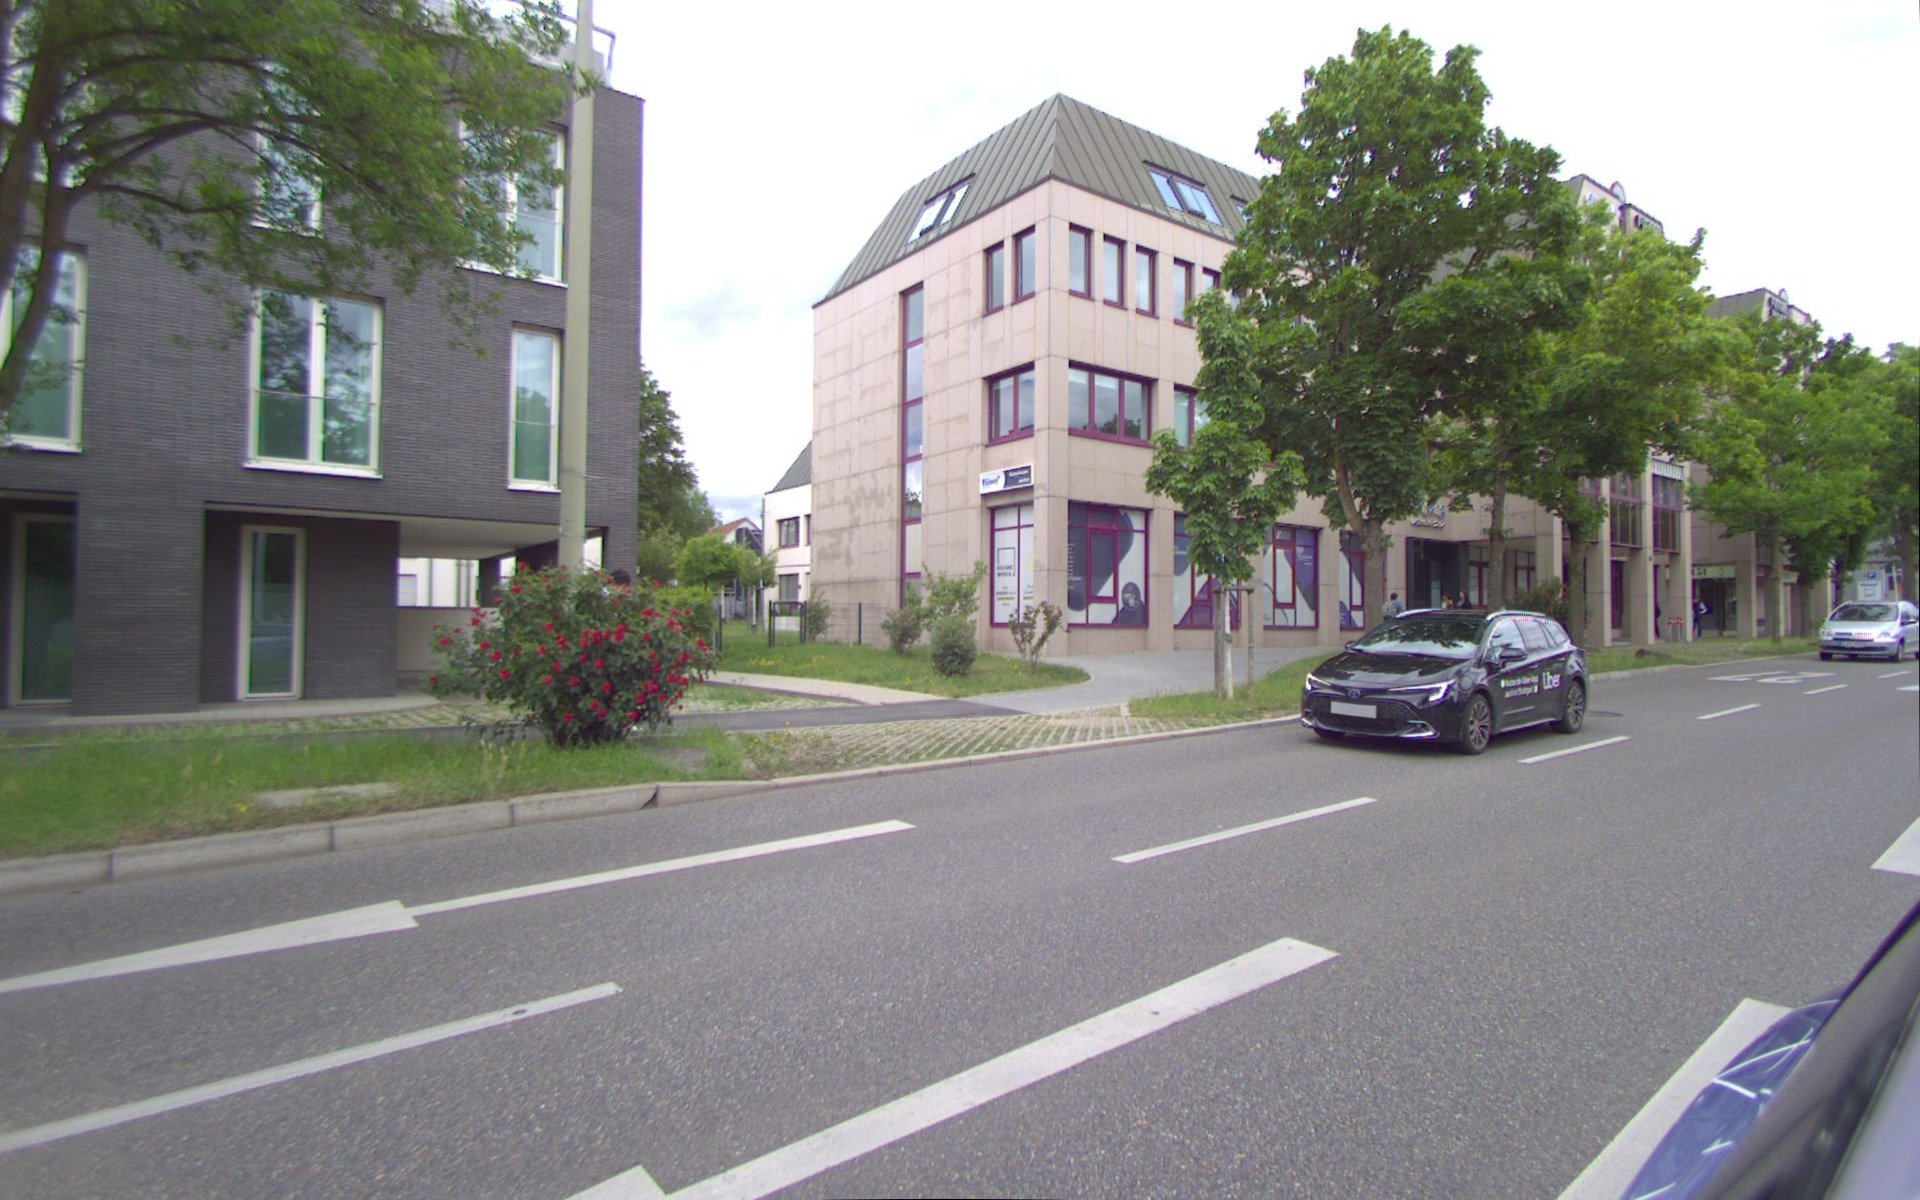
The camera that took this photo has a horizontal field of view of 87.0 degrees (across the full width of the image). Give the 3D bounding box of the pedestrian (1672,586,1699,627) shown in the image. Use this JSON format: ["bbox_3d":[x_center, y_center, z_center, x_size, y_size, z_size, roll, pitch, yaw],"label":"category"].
[{"bbox_3d":[30.551,0.269,42.623,0.827,1.712,0.659,0,1,-36],"label":"pedestrian"}]

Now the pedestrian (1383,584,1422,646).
[{"bbox_3d":[12.172,0.391,27.828,0.943,1.673,0.557,0,0,-34],"label":"pedestrian"}]

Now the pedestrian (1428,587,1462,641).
[{"bbox_3d":[15.534,0.442,32.417,0.951,1.726,0.597,0,-1,-35],"label":"pedestrian"}]

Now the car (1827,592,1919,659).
[{"bbox_3d":[24.896,0.628,27.137,4.080,1.656,1.763,0,0,-39],"label":"car"}]

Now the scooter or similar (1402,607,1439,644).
[{"bbox_3d":[12.897,0.704,28.338,0.830,1.006,0.585,0,0,-34],"label":"scooter or similar"}]

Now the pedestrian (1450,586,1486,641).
[{"bbox_3d":[16.017,0.418,31.906,0.951,1.726,0.597,0,-1,-35],"label":"pedestrian"}]

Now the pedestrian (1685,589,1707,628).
[{"bbox_3d":[29.789,0.335,40.946,0.534,1.569,0.563,0,1,-36],"label":"pedestrian"}]

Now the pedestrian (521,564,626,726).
[{"bbox_3d":[-4.486,0.514,11.773,0.936,1.798,0.609,3,-3,-40],"label":"pedestrian"}]

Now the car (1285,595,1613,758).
[{"bbox_3d":[5.618,0.695,11.369,4.343,1.467,1.767,-1,0,-41],"label":"car"}]

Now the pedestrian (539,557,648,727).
[{"bbox_3d":[-4.068,0.461,11.249,0.936,1.798,0.609,3,-3,-40],"label":"pedestrian"}]

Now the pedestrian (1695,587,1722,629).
[{"bbox_3d":[31.094,0.337,42.059,0.827,1.712,0.659,0,1,-36],"label":"pedestrian"}]

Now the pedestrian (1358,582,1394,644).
[{"bbox_3d":[11.771,0.359,28.639,0.814,1.721,0.569,0,-1,-36],"label":"pedestrian"}]
